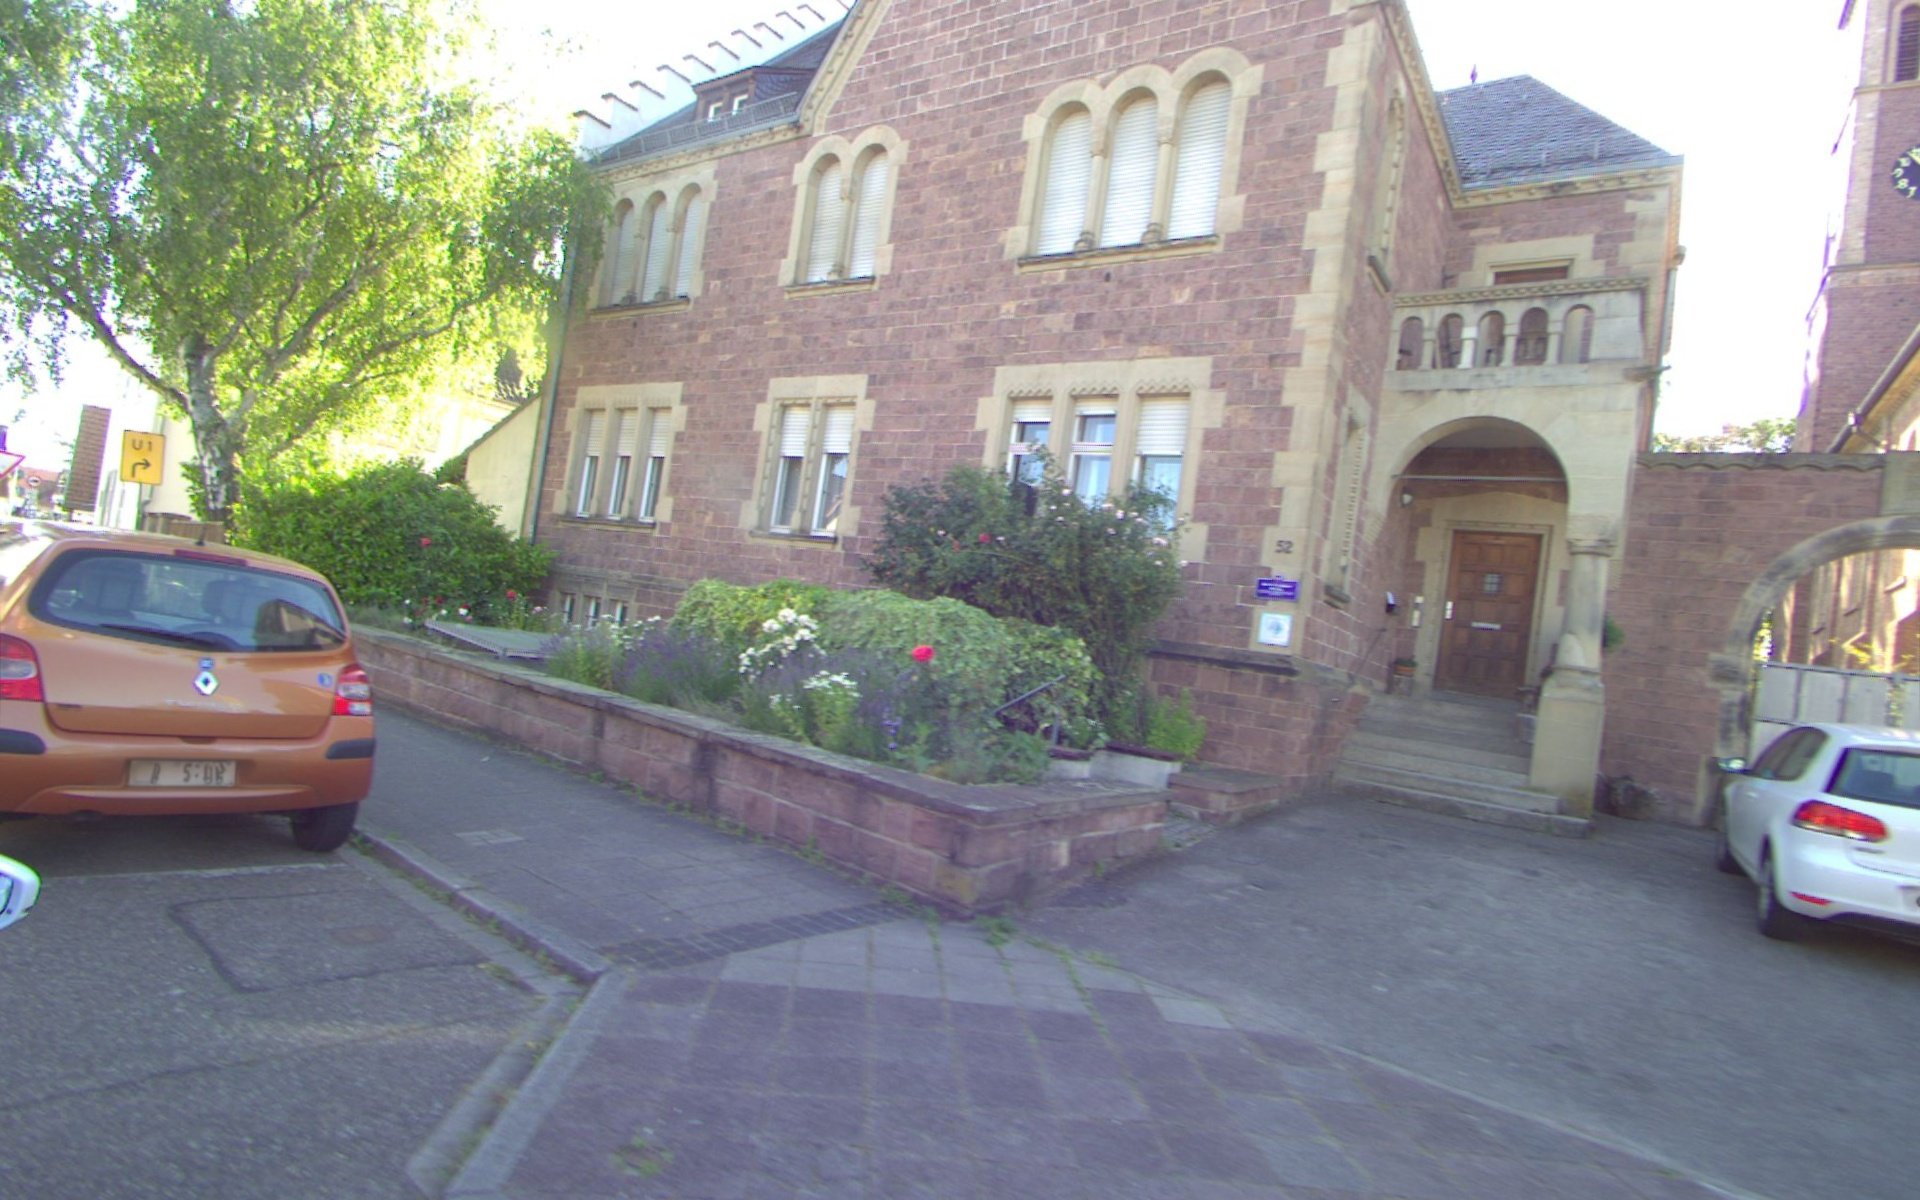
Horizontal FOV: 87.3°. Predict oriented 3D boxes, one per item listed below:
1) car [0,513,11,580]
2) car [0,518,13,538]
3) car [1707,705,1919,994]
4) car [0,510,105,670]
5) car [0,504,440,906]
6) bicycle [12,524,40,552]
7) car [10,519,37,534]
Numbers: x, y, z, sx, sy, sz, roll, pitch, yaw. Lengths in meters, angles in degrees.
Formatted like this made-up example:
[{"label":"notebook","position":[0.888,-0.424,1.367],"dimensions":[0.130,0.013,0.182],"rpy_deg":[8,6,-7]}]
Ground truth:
[{"label":"car","position":[-14.570,-0.677,13.848],"dimensions":[4.228,1.451,1.806],"rpy_deg":[6,-4,43]},{"label":"car","position":[-76.042,-5.796,79.409],"dimensions":[1.584,1.458,3.574],"rpy_deg":[11,-4,-41]},{"label":"car","position":[6.860,1.679,7.369],"dimensions":[1.874,1.514,3.900],"rpy_deg":[5,-1,33]},{"label":"car","position":[-10.999,-0.319,10.867],"dimensions":[4.223,1.451,1.809],"rpy_deg":[7,-3,39]},{"label":"car","position":[-4.653,0.329,5.498],"dimensions":[3.876,1.495,1.649],"rpy_deg":[7,-3,39]},{"label":"bicycle","position":[-43.431,-2.884,46.802],"dimensions":[0.430,1.189,1.815],"rpy_deg":[9,-3,-31]},{"label":"car","position":[-132.396,-10.408,142.249],"dimensions":[3.935,1.599,1.976],"rpy_deg":[6,-4,37]}]
